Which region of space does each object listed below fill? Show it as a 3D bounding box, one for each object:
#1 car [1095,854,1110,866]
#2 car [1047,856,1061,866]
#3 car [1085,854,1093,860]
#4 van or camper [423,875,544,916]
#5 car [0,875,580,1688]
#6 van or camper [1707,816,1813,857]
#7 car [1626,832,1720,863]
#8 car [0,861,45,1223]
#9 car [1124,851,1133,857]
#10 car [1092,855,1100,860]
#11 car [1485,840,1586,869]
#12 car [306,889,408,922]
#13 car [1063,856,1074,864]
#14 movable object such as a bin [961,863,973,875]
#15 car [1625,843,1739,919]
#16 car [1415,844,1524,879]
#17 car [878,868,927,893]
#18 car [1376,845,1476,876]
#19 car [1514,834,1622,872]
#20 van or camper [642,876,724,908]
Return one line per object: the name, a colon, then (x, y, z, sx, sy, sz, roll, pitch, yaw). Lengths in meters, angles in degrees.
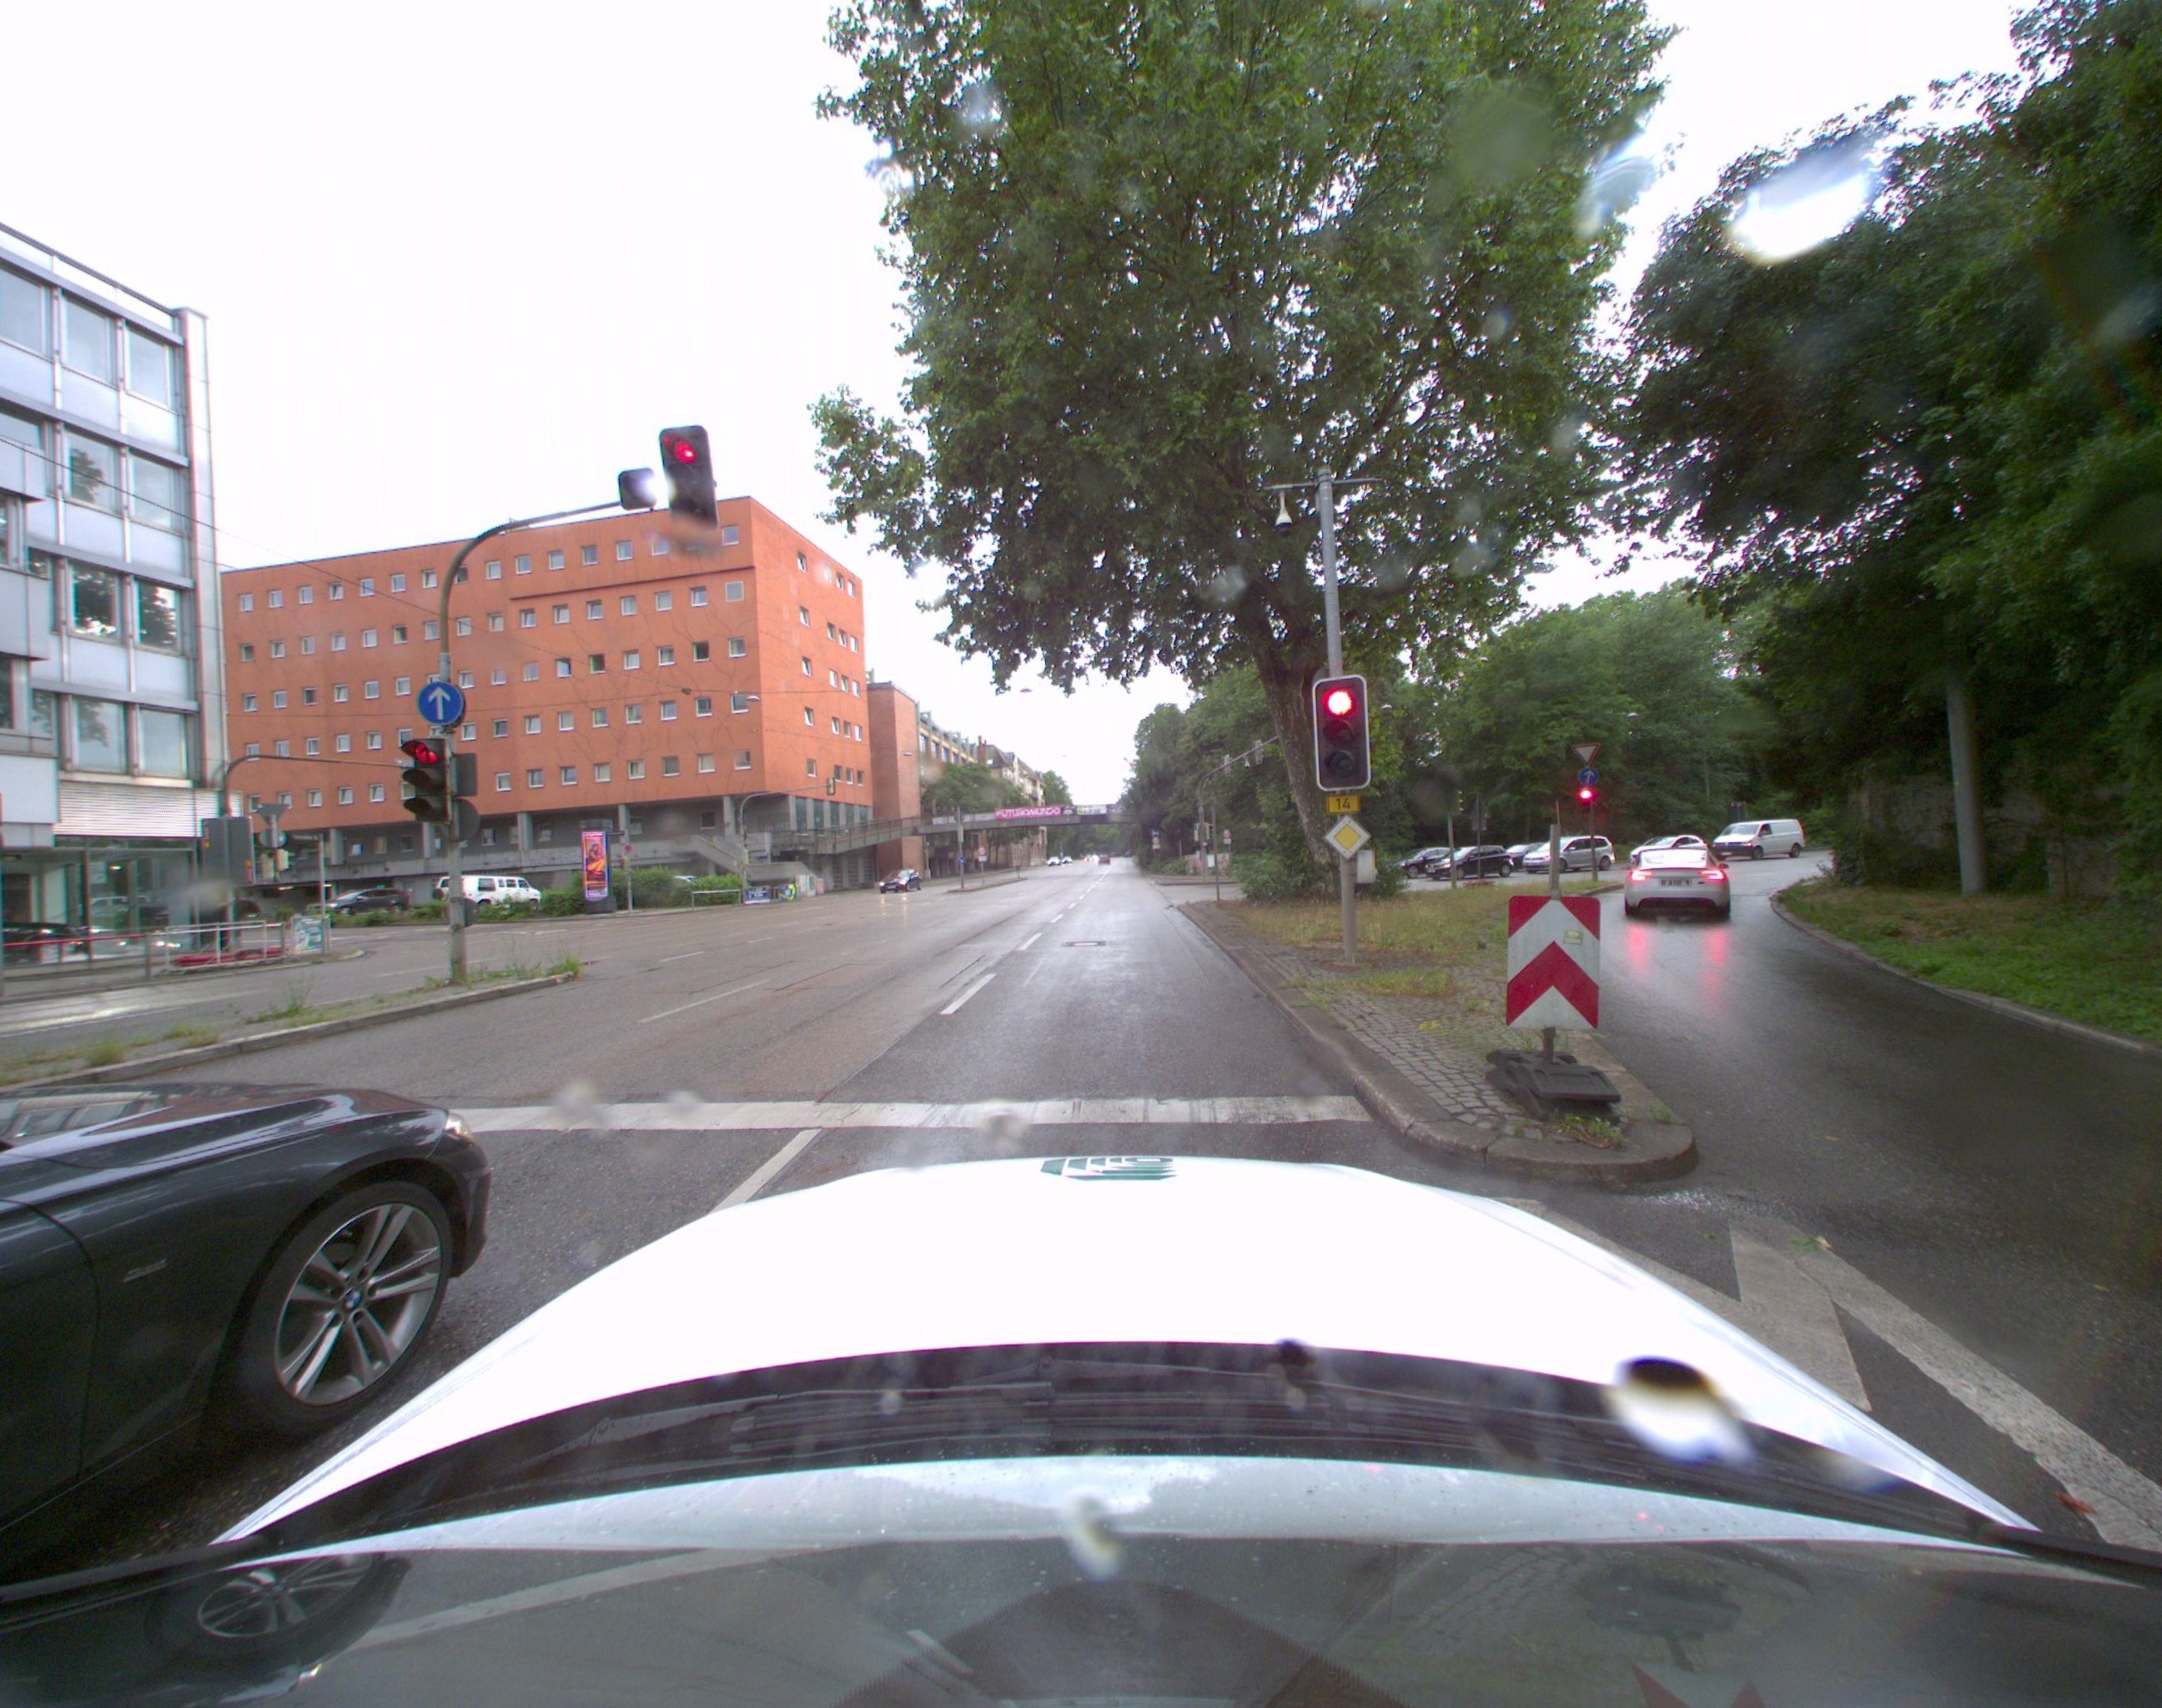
car: (3.226, 0.910, 122.203, 1.998, 1.643, 4.376, -3, 0, 0)
car: (-4.743, 1.187, 142.845, 1.881, 1.610, 4.461, -3, -1, 4)
car: (1.797, 0.718, 189.942, 1.676, 1.436, 3.865, -3, -1, 3)
van or camper: (-32.826, 2.225, 44.986, 2.113, 1.977, 5.466, 0, -1, 9)
car: (-2.926, 0.840, 0.884, 1.769, 1.458, 4.480, -3, -1, 3)
van or camper: (34.634, -0.873, 41.540, 4.865, 1.947, 1.894, -1, -1, -20)
car: (28.843, -0.297, 39.712, 3.857, 1.461, 1.650, 0, -1, -14)
car: (-6.002, 0.850, 1.707, 1.801, 1.656, 4.449, 0, -1, 4)
car: (11.323, 0.031, 194.314, 1.835, 1.453, 3.778, 0, -1, 2)
car: (4.046, 0.921, 221.269, 1.823, 1.393, 4.409, -4, -1, 3)
car: (22.972, 0.037, 41.222, 4.438, 1.402, 1.821, 0, -1, -14)
car: (-40.248, 2.820, 45.406, 1.699, 1.612, 4.097, -1, -1, 9)
car: (-2.541, 1.191, 168.834, 1.701, 1.464, 4.047, -3, -1, 5)
movable object such as a bin: (-15.111, 1.931, 107.670, 1.277, 1.518, 1.274, -3, 0, 3)
car: (13.658, 0.505, 18.603, 1.834, 1.448, 4.648, 2, 2, 36)
car: (17.160, 0.331, 36.024, 4.192, 1.460, 1.784, 0, -1, -14)
car: (-11.218, 1.665, 51.388, 1.677, 1.419, 4.221, -4, -1, 6)
car: (16.820, 0.315, 39.793, 4.205, 1.440, 1.941, 0, -1, -14)
car: (22.599, -0.044, 37.818, 4.203, 1.680, 1.898, 0, -1, -14)
van or camper: (-23.778, 2.251, 48.735, 3.965, 1.627, 1.918, -3, 0, 8)
